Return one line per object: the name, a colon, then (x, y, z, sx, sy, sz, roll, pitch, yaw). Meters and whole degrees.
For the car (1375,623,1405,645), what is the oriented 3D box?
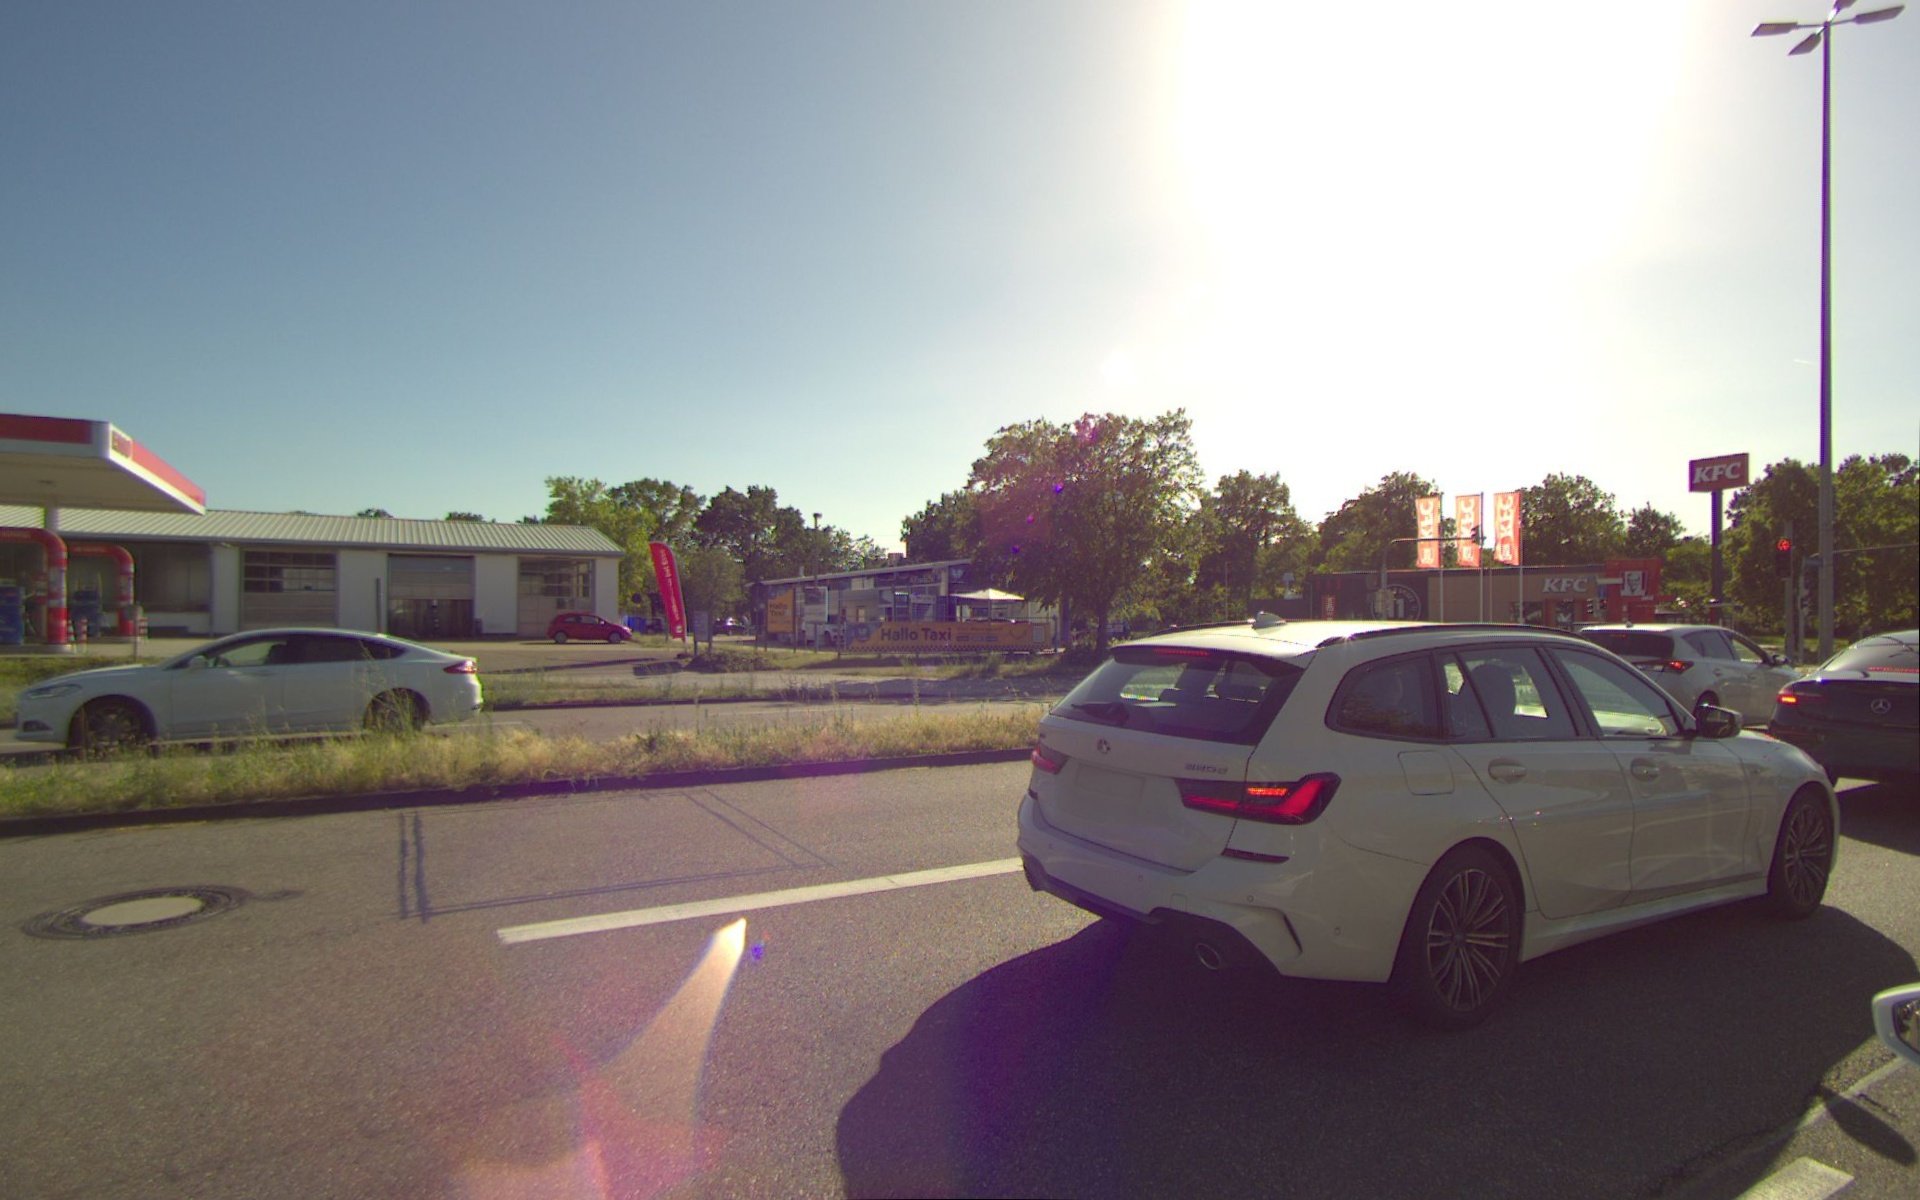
car: (31.309, 2.442, 73.225, 1.629, 1.491, 3.919, 2, 0, 18)

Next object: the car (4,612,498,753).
car: (-8.692, 1.005, 12.857, 4.829, 1.509, 1.749, 2, -5, -34)

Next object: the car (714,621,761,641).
car: (-19.392, 2.713, 87.580, 3.929, 1.634, 1.996, 2, 0, -11)

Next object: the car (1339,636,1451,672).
car: (18.995, 2.349, 44.099, 1.742, 1.510, 4.395, 1, -3, -28)

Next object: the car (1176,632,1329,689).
car: (7.850, 1.610, 26.916, 3.933, 1.428, 1.750, 2, -4, -31)

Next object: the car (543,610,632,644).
car: (-18.339, 1.329, 49.410, 3.946, 1.537, 1.772, 2, 0, -25)

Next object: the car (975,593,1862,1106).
car: (2.392, 0.795, 4.879, 4.353, 1.510, 1.776, 2, 0, -31)

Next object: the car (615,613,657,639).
car: (-19.274, 1.540, 59.627, 1.634, 1.383, 3.744, 2, 0, -29)

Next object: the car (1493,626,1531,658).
car: (33.097, 2.471, 60.207, 1.880, 1.776, 4.349, 2, 0, 29)

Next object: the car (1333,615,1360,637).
car: (28.298, 1.891, 73.660, 1.629, 1.491, 3.919, 2, 0, 18)

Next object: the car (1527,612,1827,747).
car: (9.584, 0.977, 13.358, 4.150, 1.510, 1.750, 2, 0, -31)

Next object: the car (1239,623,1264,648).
car: (21.819, 2.618, 75.158, 1.629, 1.695, 3.945, 2, 0, 18)

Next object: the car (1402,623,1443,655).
car: (28.351, 2.340, 61.524, 1.964, 1.788, 4.349, 2, 0, 29)

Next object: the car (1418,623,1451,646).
car: (33.942, 2.452, 71.952, 1.629, 1.491, 3.919, 2, 0, 18)

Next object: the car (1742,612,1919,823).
car: (8.783, 0.928, 8.642, 4.425, 1.510, 1.787, 2, 0, -31)

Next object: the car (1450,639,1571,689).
car: (16.970, 1.954, 30.916, 4.267, 1.428, 1.716, 2, -4, -38)

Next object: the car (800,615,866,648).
car: (-6.759, 1.641, 53.119, 1.978, 1.584, 3.964, 2, 0, -32)
